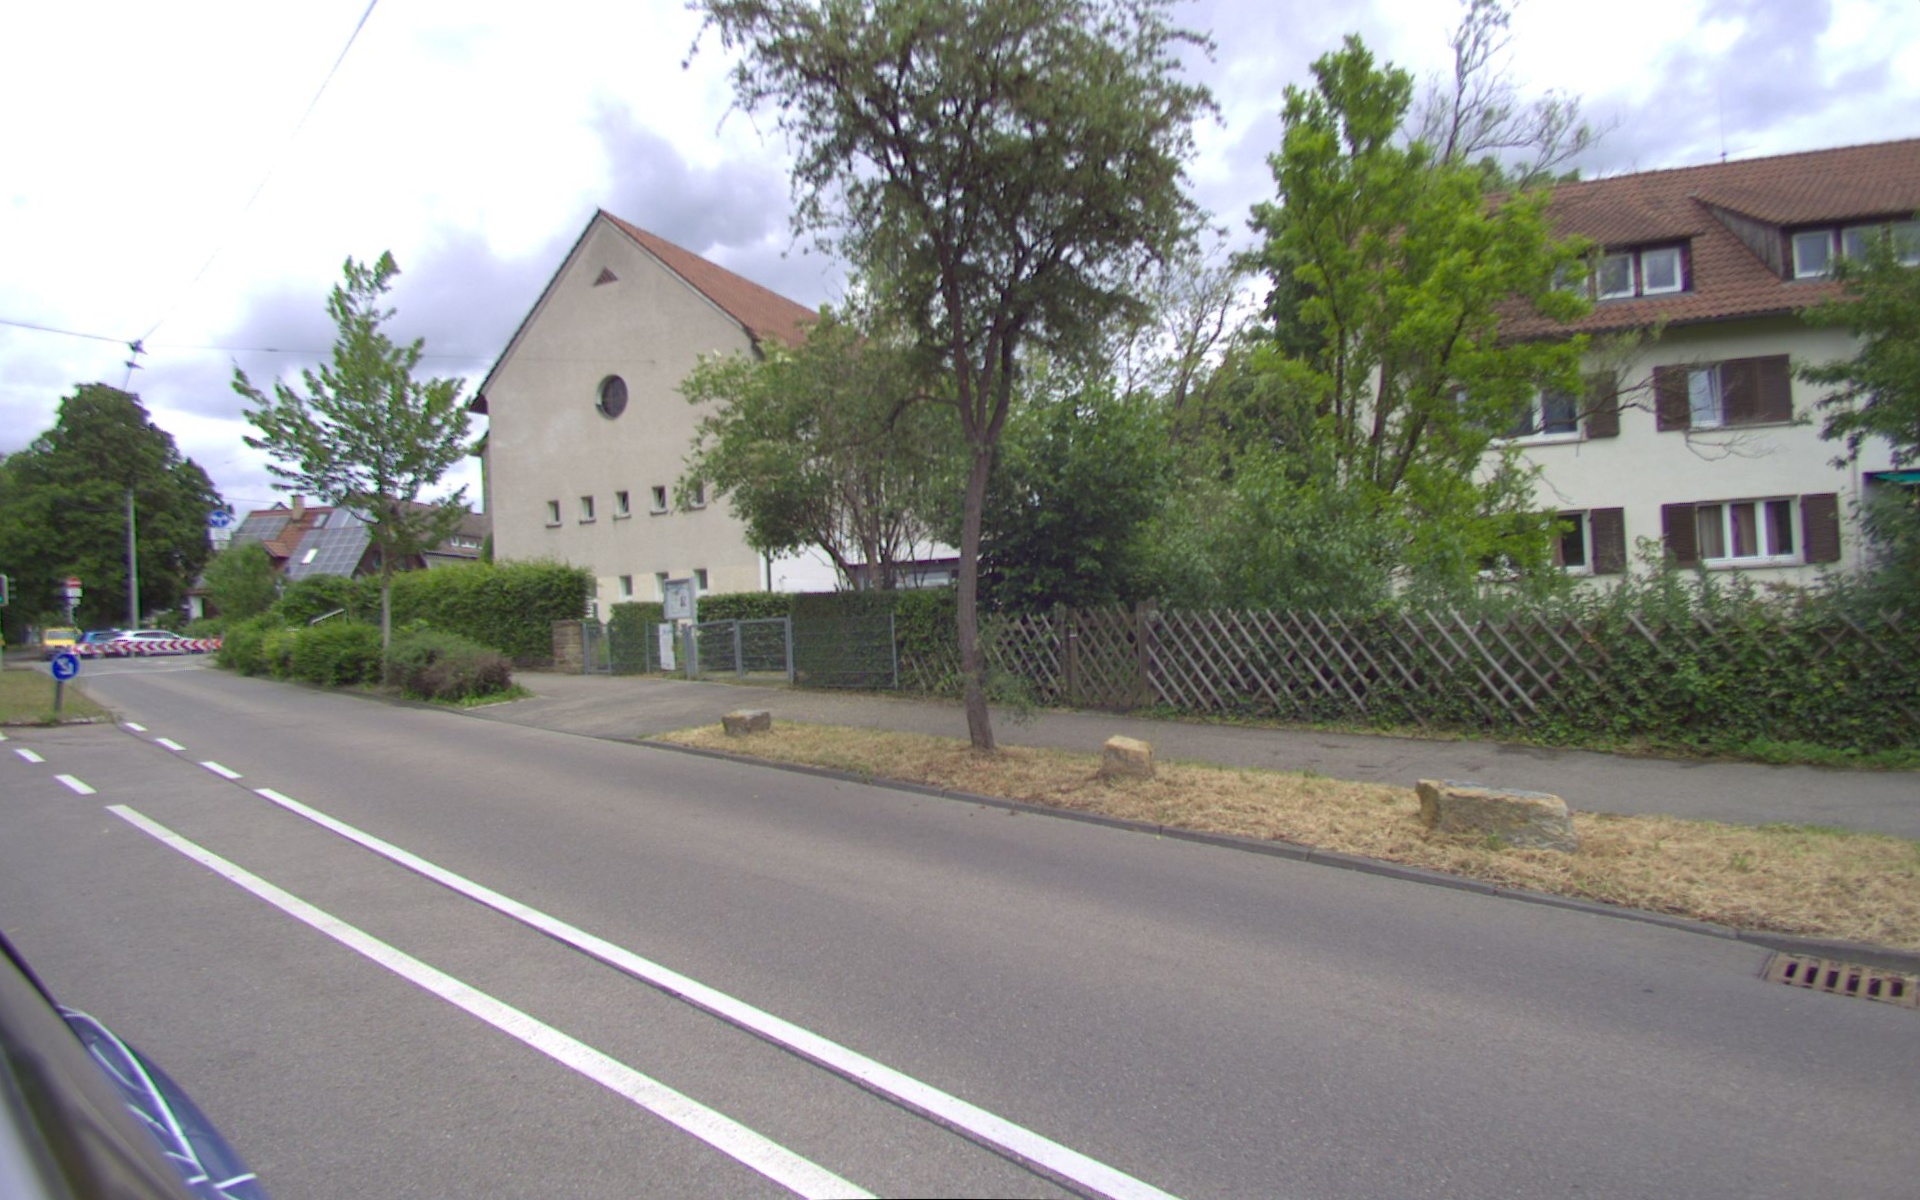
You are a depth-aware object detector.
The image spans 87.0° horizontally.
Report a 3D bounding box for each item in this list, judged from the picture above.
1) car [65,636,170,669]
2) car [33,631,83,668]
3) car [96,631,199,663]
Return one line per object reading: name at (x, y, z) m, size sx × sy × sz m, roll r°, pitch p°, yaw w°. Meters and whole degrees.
car at (-45.395, 2.813, 54.589) m, size 1.844 × 1.558 × 4.122 m, roll -4°, pitch -2°, yaw 40°
car at (-52.397, 2.886, 58.750) m, size 1.894 × 2.004 × 4.803 m, roll -1°, pitch -2°, yaw -45°
car at (-43.061, 2.491, 53.702) m, size 1.840 × 1.483 × 3.862 m, roll -4°, pitch -2°, yaw 32°
